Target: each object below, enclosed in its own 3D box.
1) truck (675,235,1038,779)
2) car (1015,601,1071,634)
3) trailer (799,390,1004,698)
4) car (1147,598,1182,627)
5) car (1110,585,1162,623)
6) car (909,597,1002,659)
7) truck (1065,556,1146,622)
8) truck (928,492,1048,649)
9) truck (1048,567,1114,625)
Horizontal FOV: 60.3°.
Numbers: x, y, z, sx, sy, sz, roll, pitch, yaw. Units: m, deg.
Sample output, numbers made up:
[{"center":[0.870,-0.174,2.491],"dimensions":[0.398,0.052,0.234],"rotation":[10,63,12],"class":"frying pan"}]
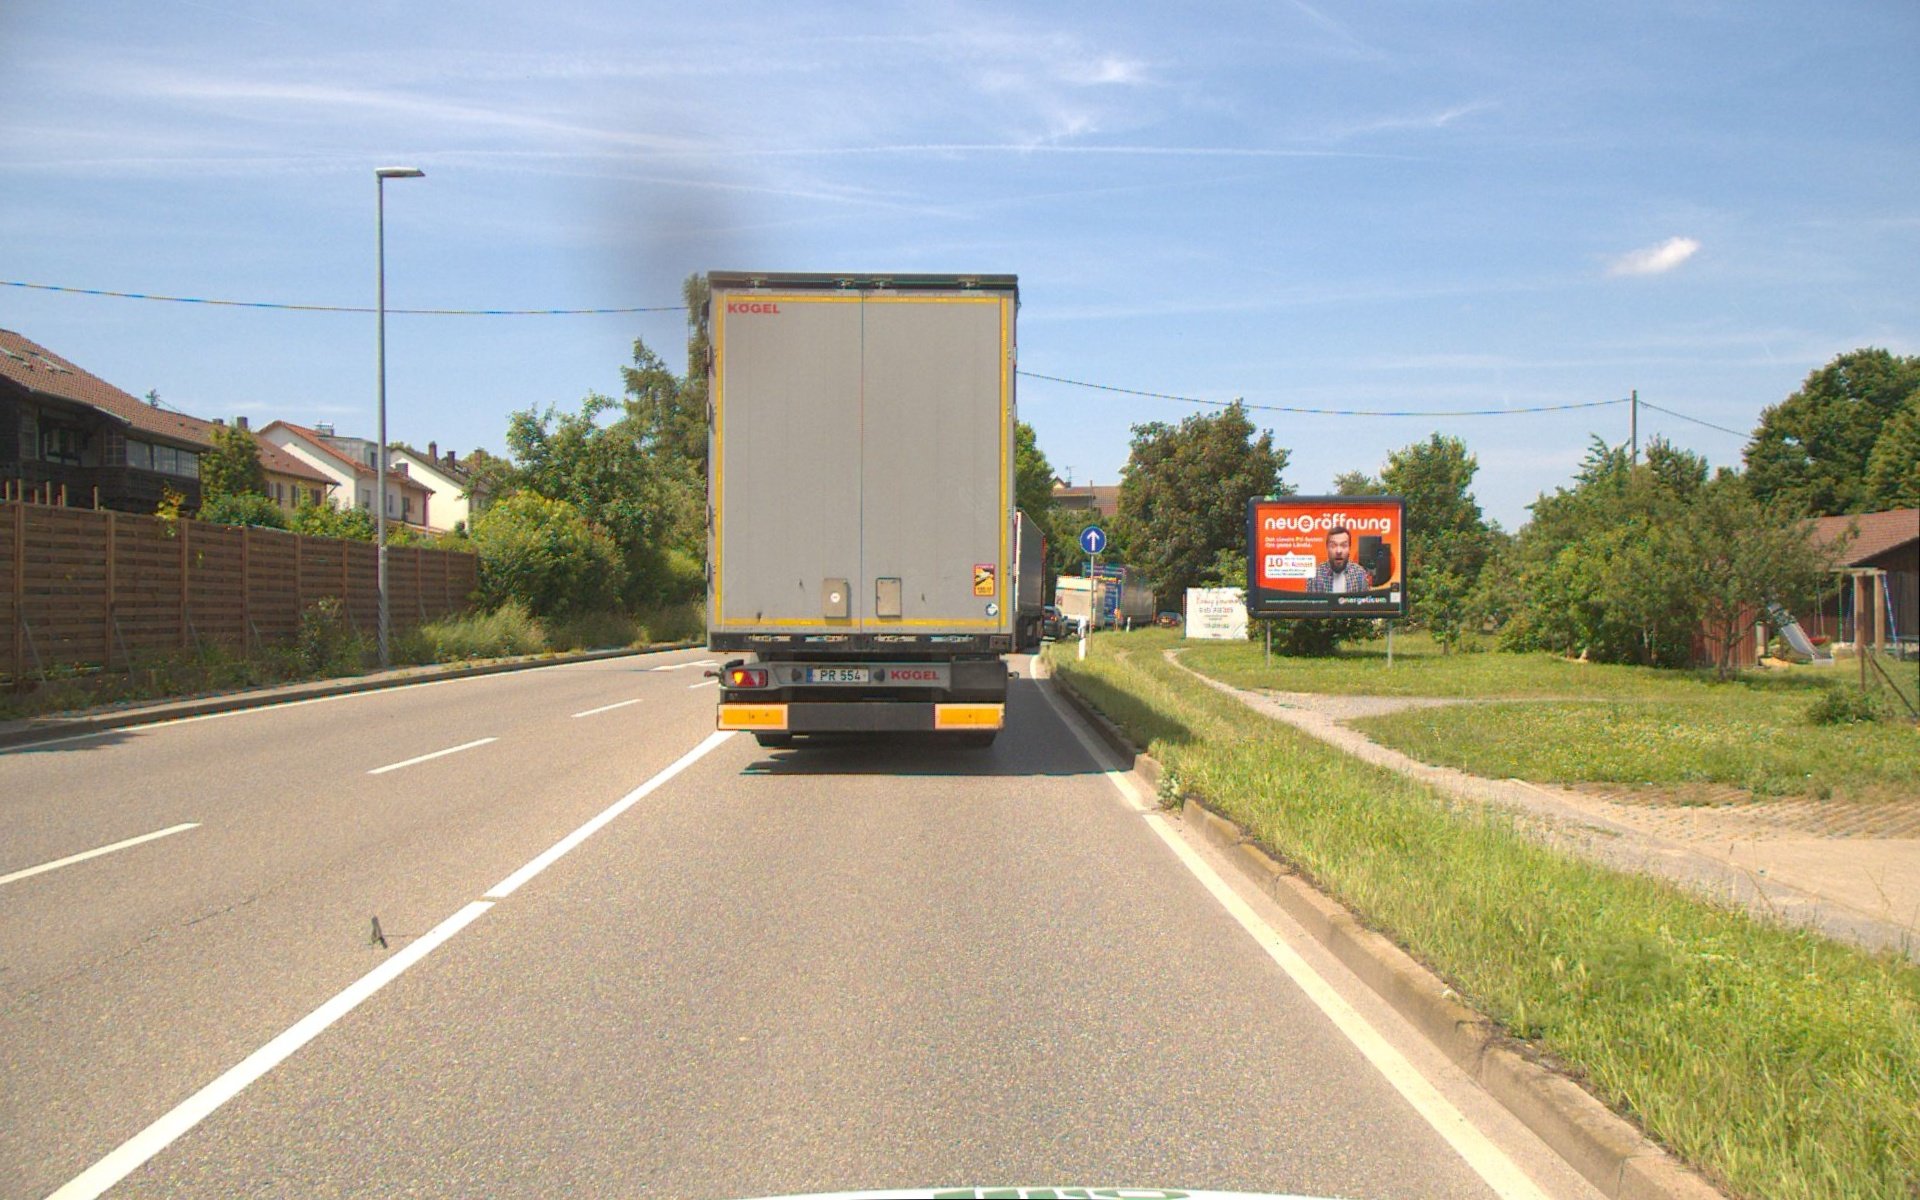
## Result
[{"center":[-0.803,-0.767,18.637],"dimensions":[2.764,4.200,11.443],"rotation":[1,0,0],"class":"truck"},{"center":[3.740,0.779,74.007],"dimensions":[1.951,1.400,4.003],"rotation":[1,-1,10],"class":"car"},{"center":[-0.807,-0.785,25.859],"dimensions":[2.767,4.182,6.544],"rotation":[1,0,0],"class":"trailer"},{"center":[14.769,0.901,119.346],"dimensions":[1.951,2.049,4.003],"rotation":[1,-1,14],"class":"car"},{"center":[11.430,0.233,107.123],"dimensions":[2.478,2.317,6.386],"rotation":[1,0,14],"class":"car"},{"center":[-0.059,0.663,39.392],"dimensions":[1.780,1.370,3.850],"rotation":[1,-1,6],"class":"car"},{"center":[8.651,-0.668,97.068],"dimensions":[3.359,3.667,9.361],"rotation":[1,1,13],"class":"truck"},{"center":[1.209,-0.733,54.480],"dimensions":[2.702,4.364,16.424],"rotation":[1,-1,5],"class":"truck"},{"center":[6.295,-0.183,85.495],"dimensions":[2.489,2.852,6.036],"rotation":[1,-1,13],"class":"truck"}]
